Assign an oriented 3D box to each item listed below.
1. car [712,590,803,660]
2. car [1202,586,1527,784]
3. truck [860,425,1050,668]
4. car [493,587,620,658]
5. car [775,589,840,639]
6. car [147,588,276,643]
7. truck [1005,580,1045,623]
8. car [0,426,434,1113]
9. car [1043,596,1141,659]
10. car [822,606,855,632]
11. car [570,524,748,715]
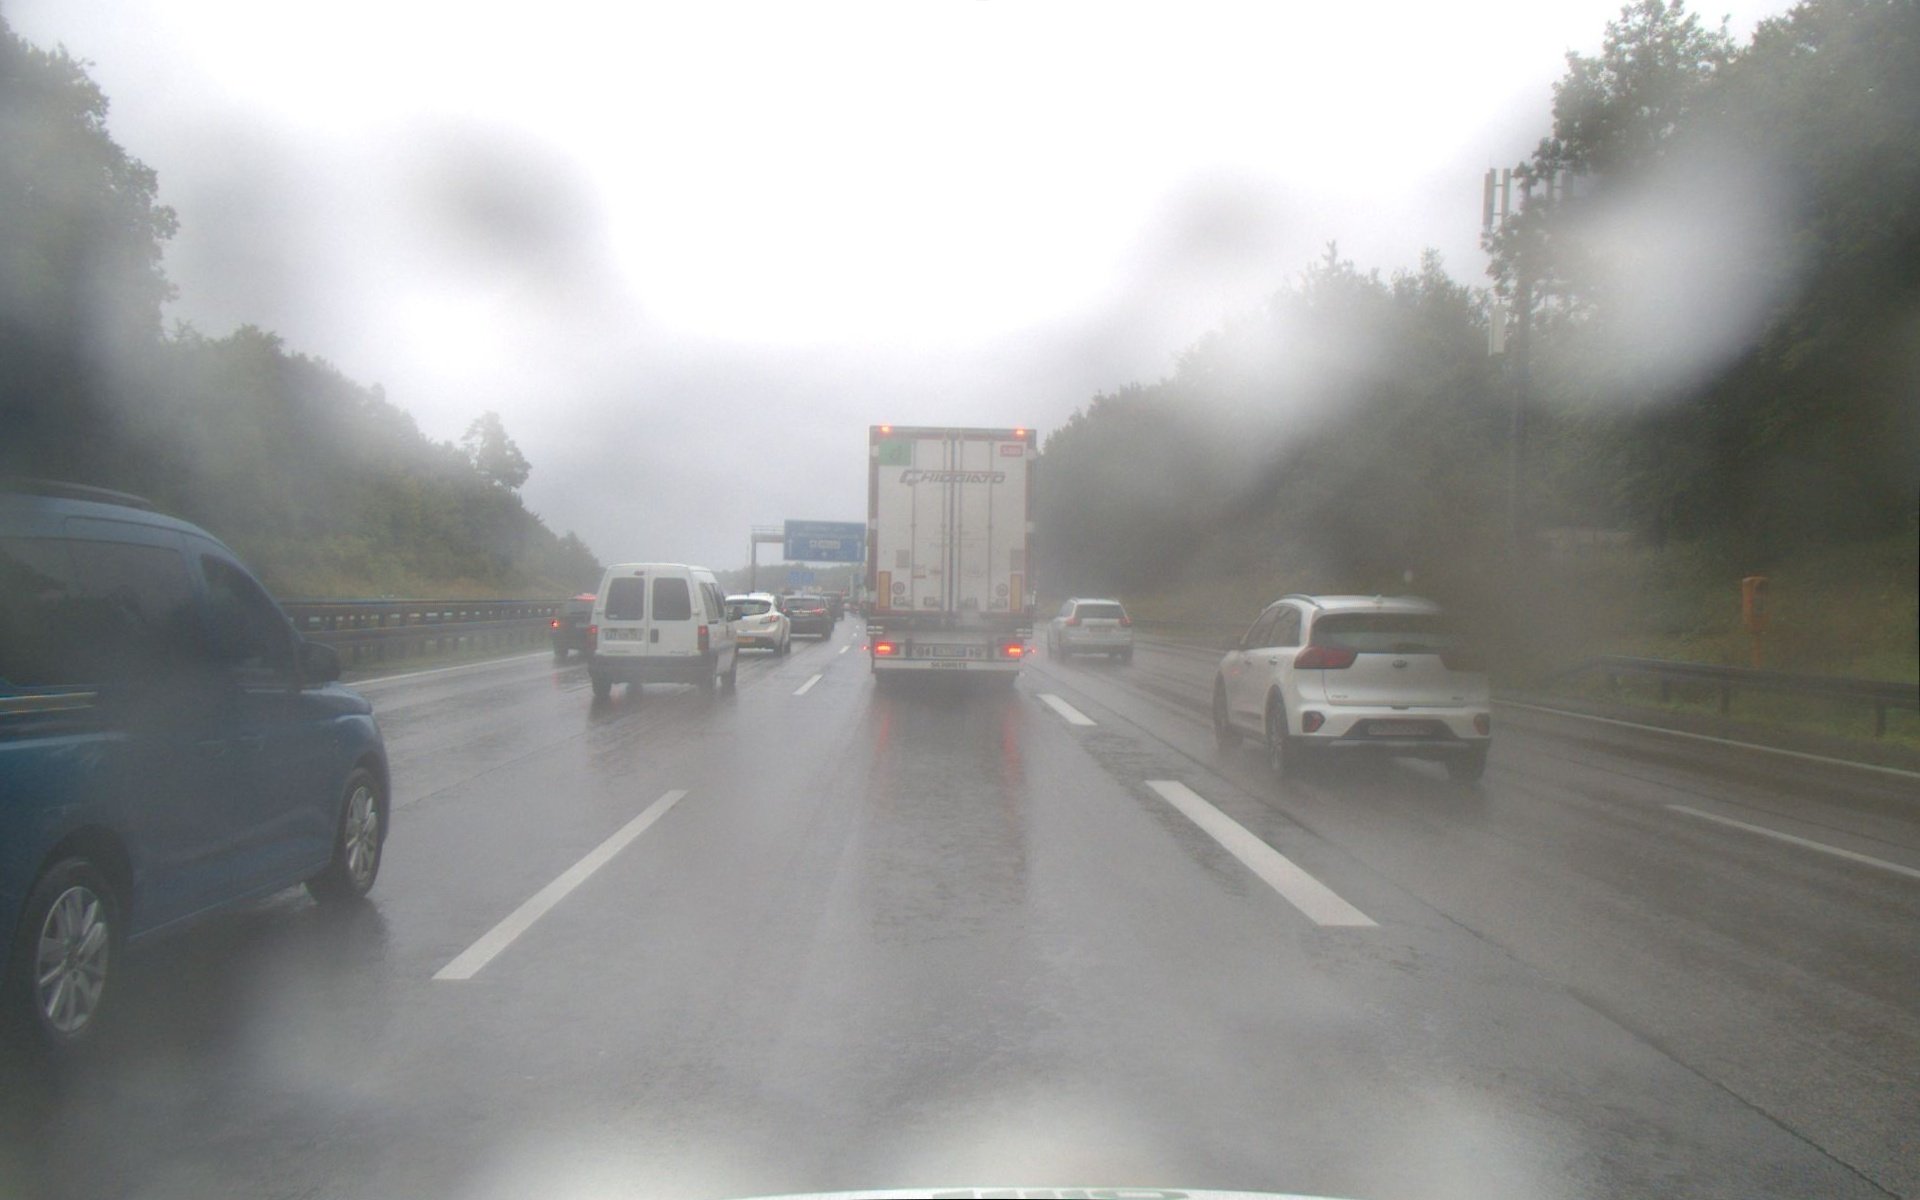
[{"bbox_3d":[-5.017,0.583,41.450,1.808,1.619,4.071,1,0,-1],"label":"car"},{"bbox_3d":[3.526,0.661,15.290,1.808,1.549,4.342,1,0,-2],"label":"car"},{"bbox_3d":[-0.203,-0.779,30.583,2.814,3.624,11.298,1,0,-1],"label":"truck"},{"bbox_3d":[-9.342,0.473,38.705,2.049,1.531,4.751,0,1,-3],"label":"car"},{"bbox_3d":[-5.193,0.454,56.771,1.808,1.619,4.466,1,0,-1],"label":"car"},{"bbox_3d":[-19.661,0.383,43.591,1.765,1.368,3.675,1,0,-1],"label":"car"},{"bbox_3d":[4.690,0.104,120.668,2.536,2.992,6.455,1,0,-1],"label":"truck"},{"bbox_3d":[-3.817,0.458,5.902,2.223,1.945,5.016,1,0,0],"label":"car"},{"bbox_3d":[3.216,0.640,41.137,1.966,1.418,4.566,1,0,-2],"label":"car"},{"bbox_3d":[-6.902,1.084,94.094,1.809,1.354,4.463,1,0,-4],"label":"car"},{"bbox_3d":[-4.485,0.256,25.391,2.169,2.618,5.011,1,0,-5],"label":"car"}]
